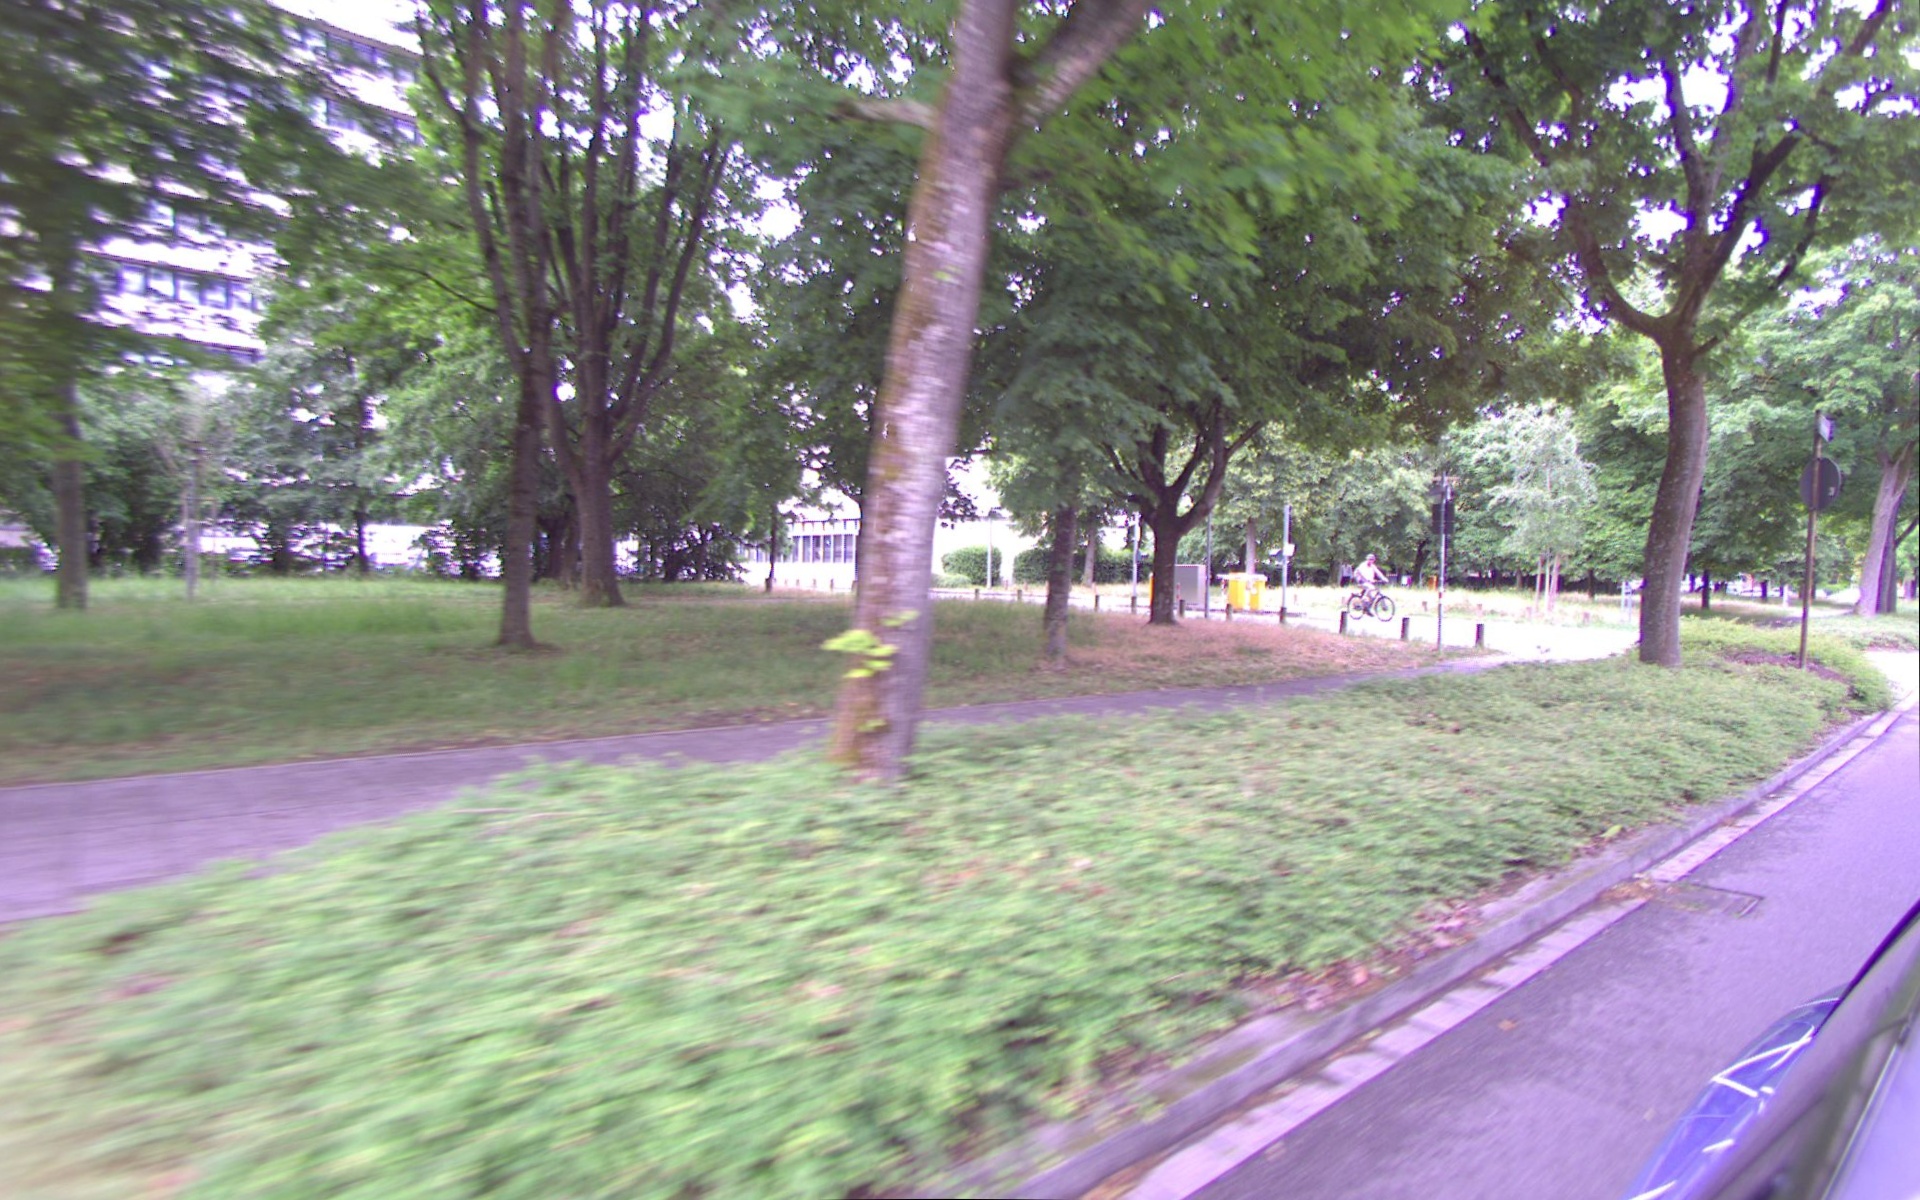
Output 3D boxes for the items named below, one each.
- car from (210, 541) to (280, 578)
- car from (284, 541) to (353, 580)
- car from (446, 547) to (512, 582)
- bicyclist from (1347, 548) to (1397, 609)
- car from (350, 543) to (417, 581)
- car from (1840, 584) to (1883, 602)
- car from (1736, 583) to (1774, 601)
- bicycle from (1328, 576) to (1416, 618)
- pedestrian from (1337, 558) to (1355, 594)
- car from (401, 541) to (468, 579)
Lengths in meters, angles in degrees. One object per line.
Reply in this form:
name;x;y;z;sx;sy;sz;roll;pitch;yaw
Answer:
car;-33.111;-1.858;46.838;3.989;1.638;1.968;2;2;45
car;-30.770;-1.860;48.504;3.988;1.749;1.968;0;1;45
car;-25.669;-1.870;53.941;3.988;1.784;1.968;1;1;45
bicyclist;11.609;-0.602;28.499;1.003;1.665;0.922;0;2;-41
car;-29.003;-1.868;50.870;3.988;1.816;1.968;0;1;45
car;97.186;-0.779;109.165;3.295;1.948;1.787;1;0;38
car;90.305;-0.927;115.003;3.295;1.948;1.787;1;0;38
bicycle;11.601;-0.111;28.545;0.854;1.088;2.139;0;2;-40
pedestrian;19.772;-1.253;51.859;0.562;1.820;0.544;1;2;-32
car;-27.328;-2.034;52.550;3.988;1.905;1.968;1;1;45
